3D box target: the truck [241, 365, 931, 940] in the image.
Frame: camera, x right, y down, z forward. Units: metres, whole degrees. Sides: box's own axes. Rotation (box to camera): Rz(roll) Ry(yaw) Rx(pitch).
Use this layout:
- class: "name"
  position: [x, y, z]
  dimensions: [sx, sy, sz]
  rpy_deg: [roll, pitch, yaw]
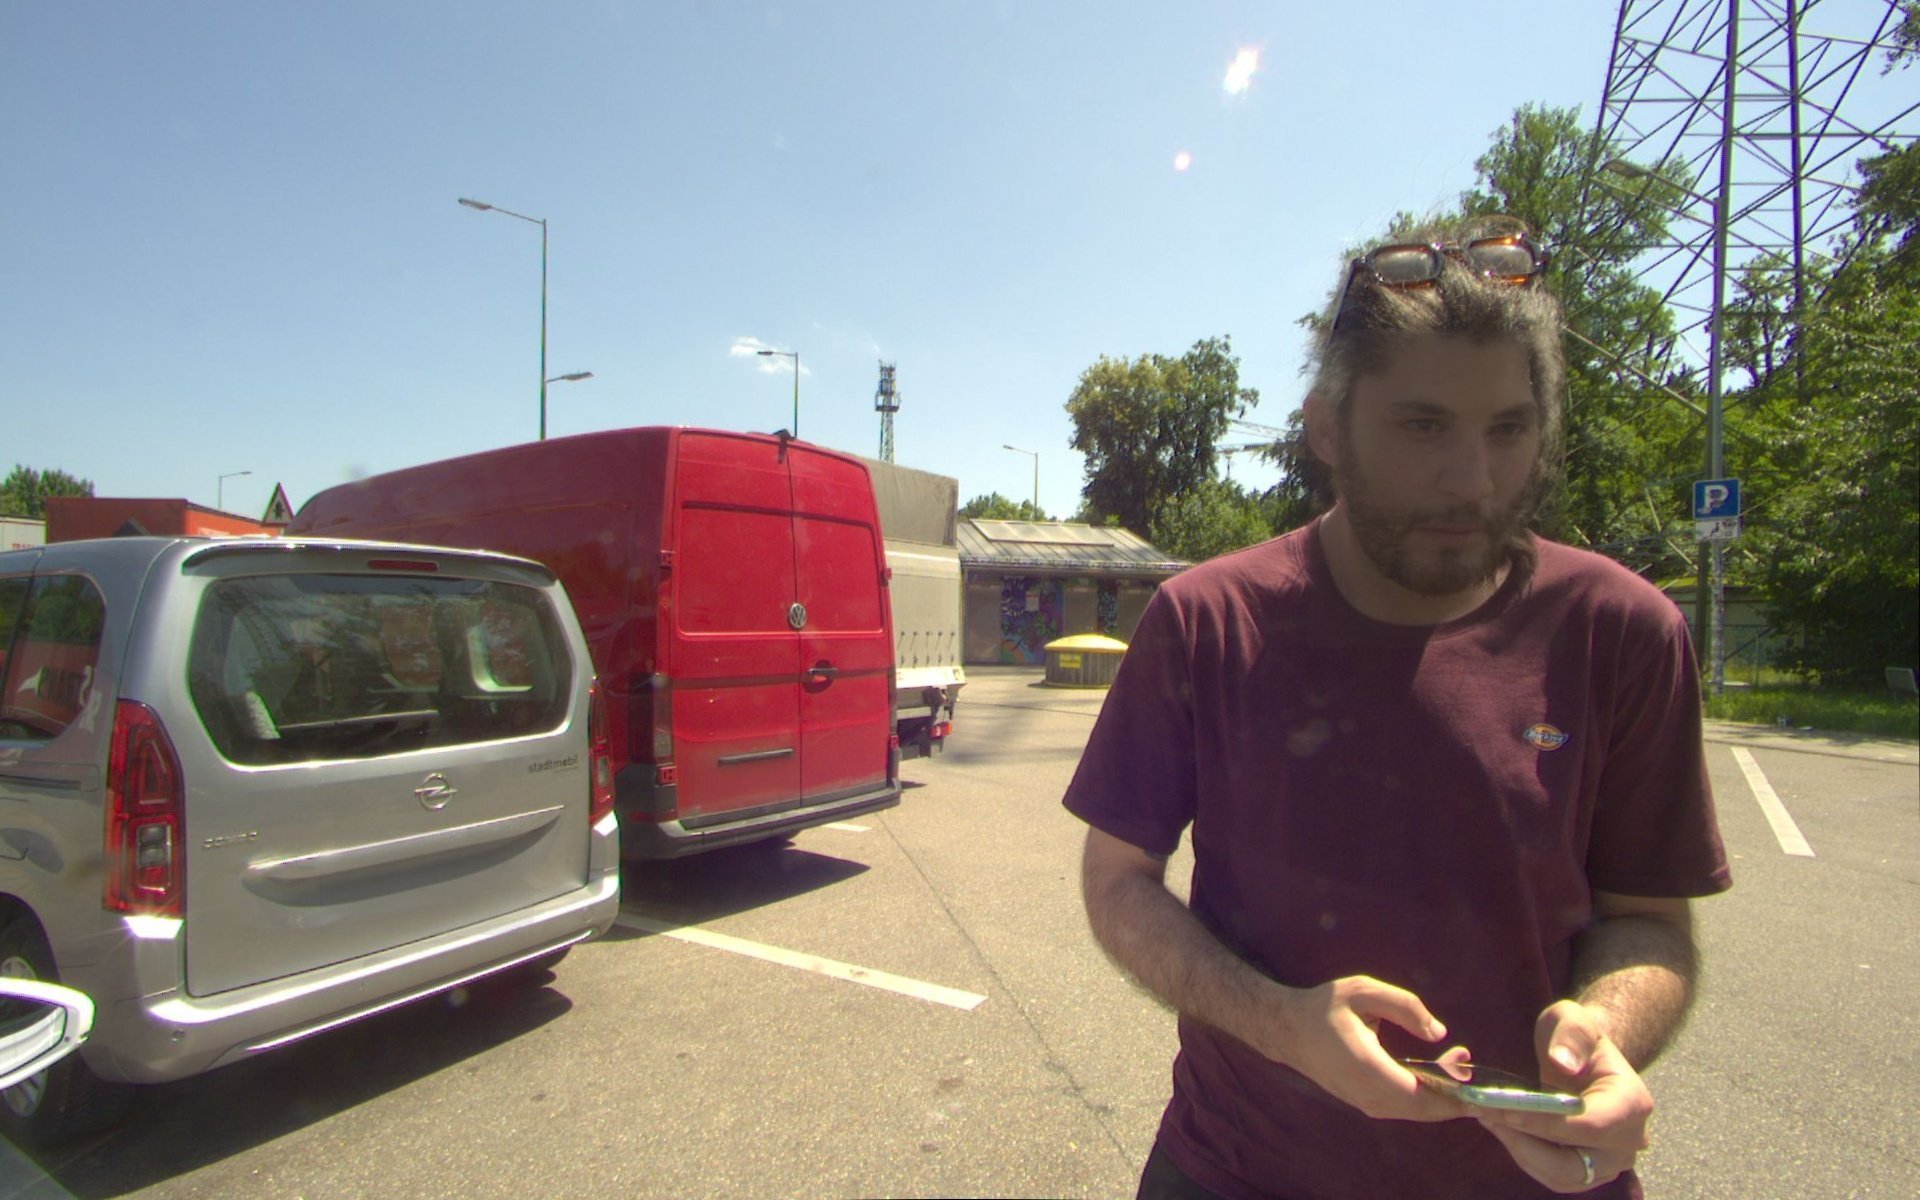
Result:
- class: "truck"
  position: [-2.876, 0.265, 7.001]
  dimensions: [5.233, 2.658, 1.987]
  rpy_deg: [0, -1, 37]

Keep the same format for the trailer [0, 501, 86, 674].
- class: "trailer"
  position: [-28.814, -0.325, 28.027]
  dimensions: [13.374, 4.178, 2.871]
  rpy_deg: [0, -1, 32]

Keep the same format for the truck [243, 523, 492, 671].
- class: "truck"
  position: [-19.413, 0.027, 33.943]
  dimensions: [2.642, 4.181, 10.606]
  rpy_deg: [1, -1, -3]

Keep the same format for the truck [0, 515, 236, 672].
- class: "truck"
  position: [-28.010, -0.128, 31.781]
  dimensions: [14.316, 4.175, 2.901]
  rpy_deg: [0, -3, 33]

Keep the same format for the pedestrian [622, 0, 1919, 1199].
- class: "pedestrian"
  position: [0.350, 0.497, 0.881]
  dimensions: [0.926, 1.798, 0.827]
  rpy_deg: [1, -1, 28]

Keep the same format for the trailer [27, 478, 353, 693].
- class: "trailer"
  position: [-18.167, -0.192, 24.599]
  dimensions: [2.791, 4.313, 8.678]
  rpy_deg: [1, -1, -12]

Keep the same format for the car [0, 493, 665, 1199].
- class: "car"
  position: [-3.362, 0.640, 4.215]
  dimensions: [3.938, 1.776, 1.824]
  rpy_deg: [0, -1, 29]
